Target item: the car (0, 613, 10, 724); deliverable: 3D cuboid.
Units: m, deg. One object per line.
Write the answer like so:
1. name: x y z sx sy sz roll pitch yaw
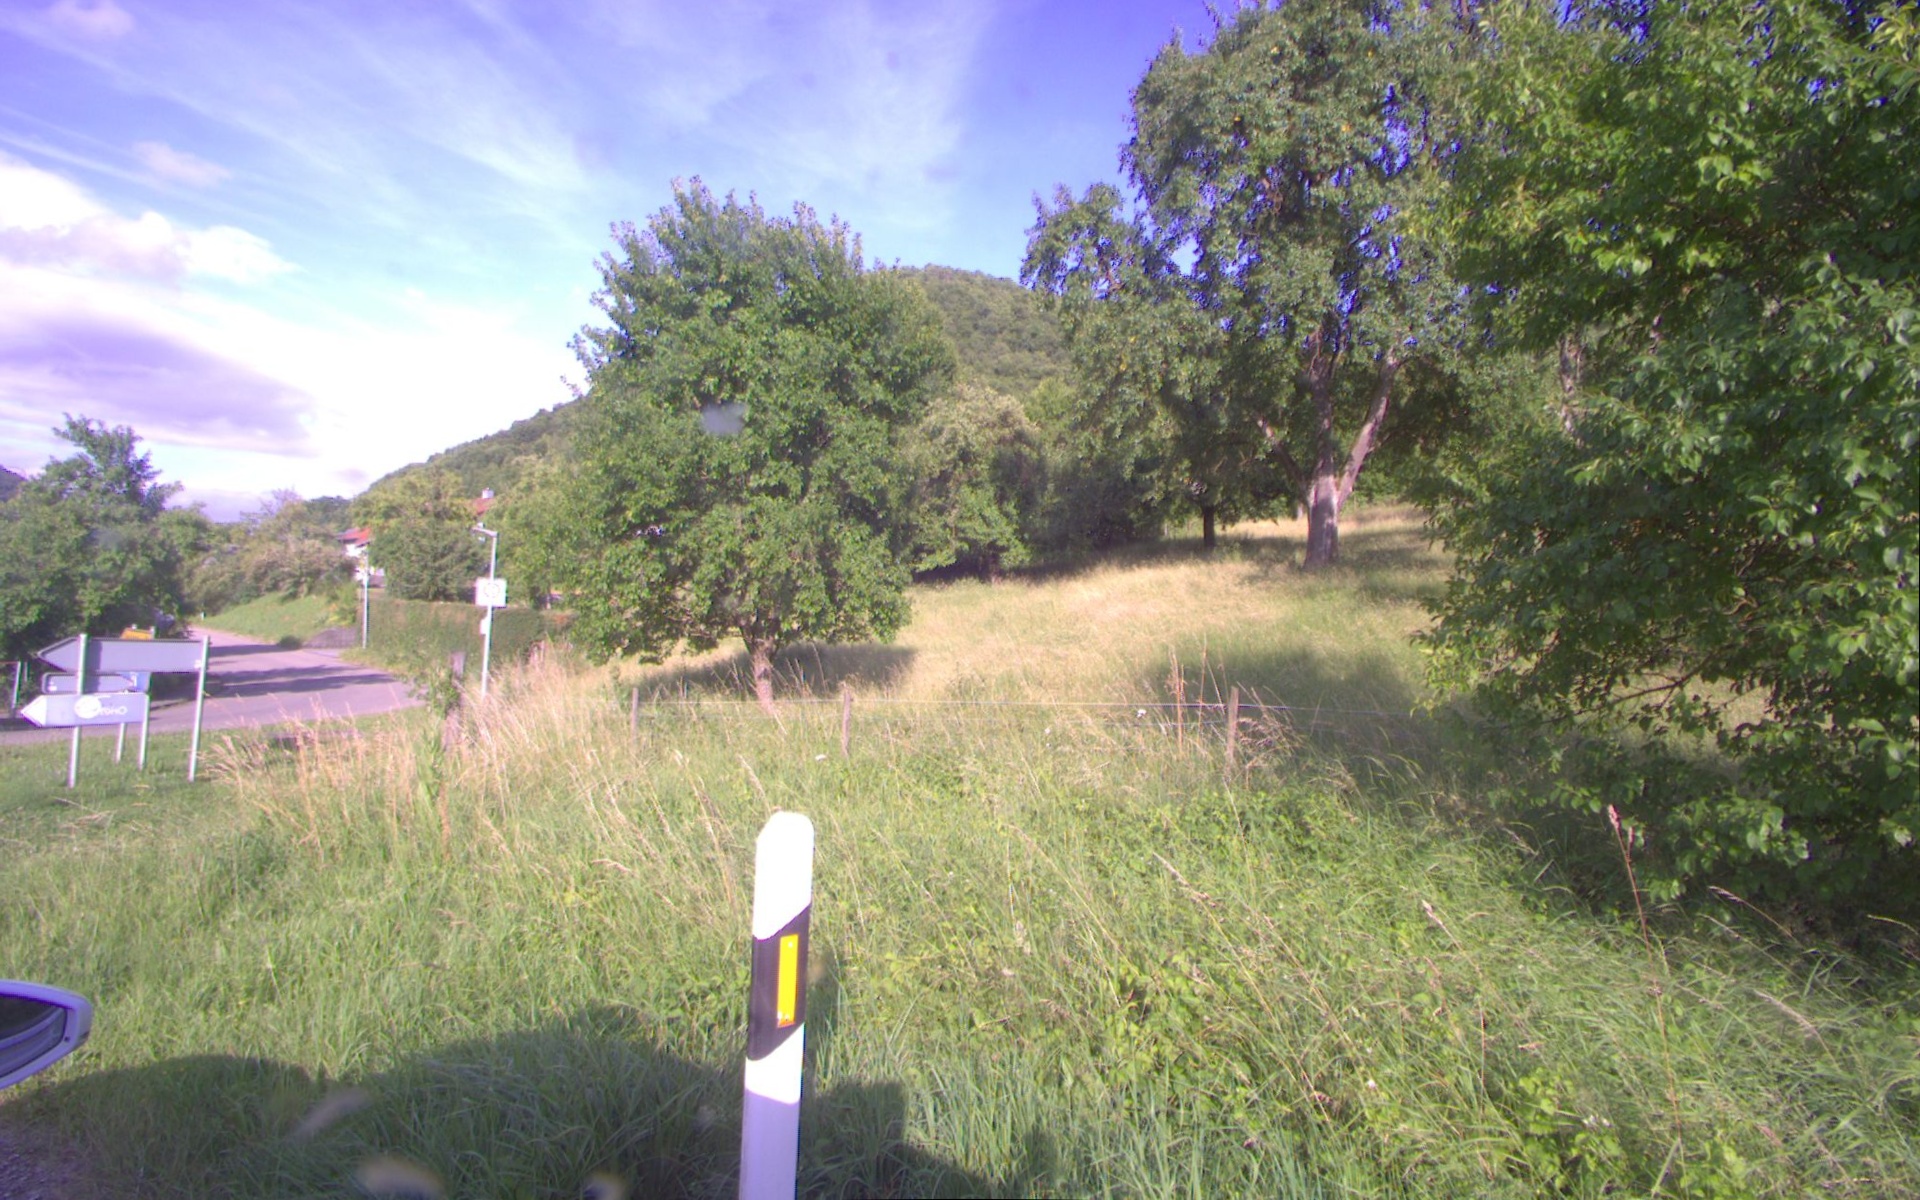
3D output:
1. car: -18.387 1.023 15.551 1.969 1.900 4.854 1 -3 29
